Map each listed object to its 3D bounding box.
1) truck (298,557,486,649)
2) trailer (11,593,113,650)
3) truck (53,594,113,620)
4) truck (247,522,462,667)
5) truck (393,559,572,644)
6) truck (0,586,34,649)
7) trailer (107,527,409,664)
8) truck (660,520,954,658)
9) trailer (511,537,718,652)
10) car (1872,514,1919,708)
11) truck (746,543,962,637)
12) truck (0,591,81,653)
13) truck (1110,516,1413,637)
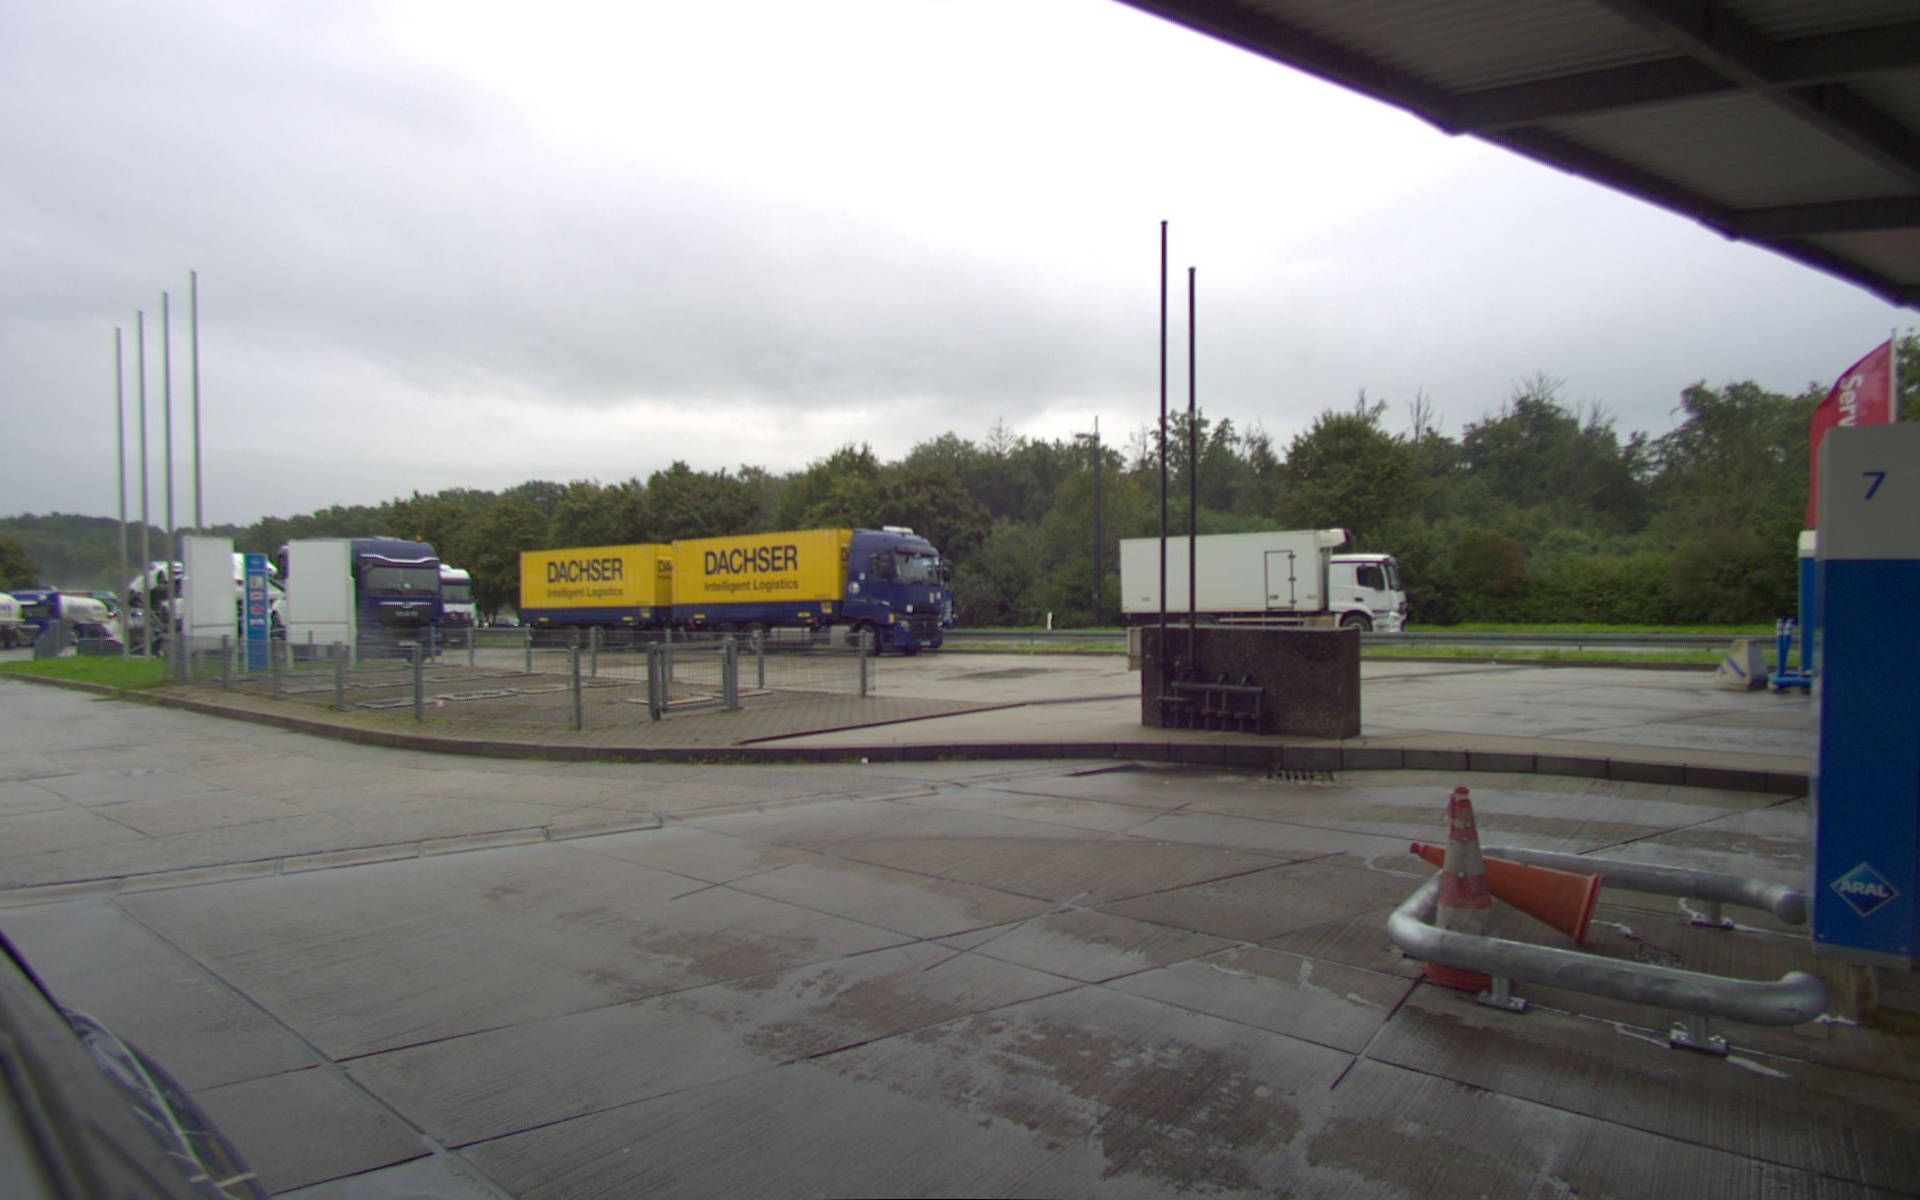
[{"bbox_3d":[-27.304,0.172,48.444,10.433,4.063,2.961,-1,0,30],"label":"truck"},{"bbox_3d":[-62.272,1.428,70.480,2.854,3.666,10.605,-1,0,-28],"label":"trailer"},{"bbox_3d":[-133.486,1.127,153.991,14.626,3.591,3.215,-1,-1,34],"label":"truck"},{"bbox_3d":[-18.996,-0.116,31.619,7.244,4.063,2.957,-1,0,34],"label":"truck"},{"bbox_3d":[-24.783,0.137,52.273,10.433,4.063,2.961,-1,0,30],"label":"truck"},{"bbox_3d":[-55.561,1.014,55.014,3.196,3.591,12.013,-1,0,-19],"label":"truck"},{"bbox_3d":[-25.420,-0.059,35.922,16.563,4.063,2.957,-1,0,34],"label":"trailer"},{"bbox_3d":[-5.393,-0.274,33.953,10.608,4.063,2.743,-1,0,33],"label":"truck"},{"bbox_3d":[-13.549,-0.169,39.287,8.833,4.063,2.743,-1,0,33],"label":"trailer"},{"bbox_3d":[14.876,0.112,12.386,5.272,2.482,2.298,-1,-2,37],"label":"car"},{"bbox_3d":[-5.143,-0.380,47.688,10.433,4.063,2.961,-1,0,30],"label":"truck"},{"bbox_3d":[-59.427,1.365,64.993,3.000,3.795,6.486,-1,0,-27],"label":"truck"},{"bbox_3d":[11.029,-0.739,37.721,10.433,4.063,2.961,-1,0,30],"label":"truck"}]
